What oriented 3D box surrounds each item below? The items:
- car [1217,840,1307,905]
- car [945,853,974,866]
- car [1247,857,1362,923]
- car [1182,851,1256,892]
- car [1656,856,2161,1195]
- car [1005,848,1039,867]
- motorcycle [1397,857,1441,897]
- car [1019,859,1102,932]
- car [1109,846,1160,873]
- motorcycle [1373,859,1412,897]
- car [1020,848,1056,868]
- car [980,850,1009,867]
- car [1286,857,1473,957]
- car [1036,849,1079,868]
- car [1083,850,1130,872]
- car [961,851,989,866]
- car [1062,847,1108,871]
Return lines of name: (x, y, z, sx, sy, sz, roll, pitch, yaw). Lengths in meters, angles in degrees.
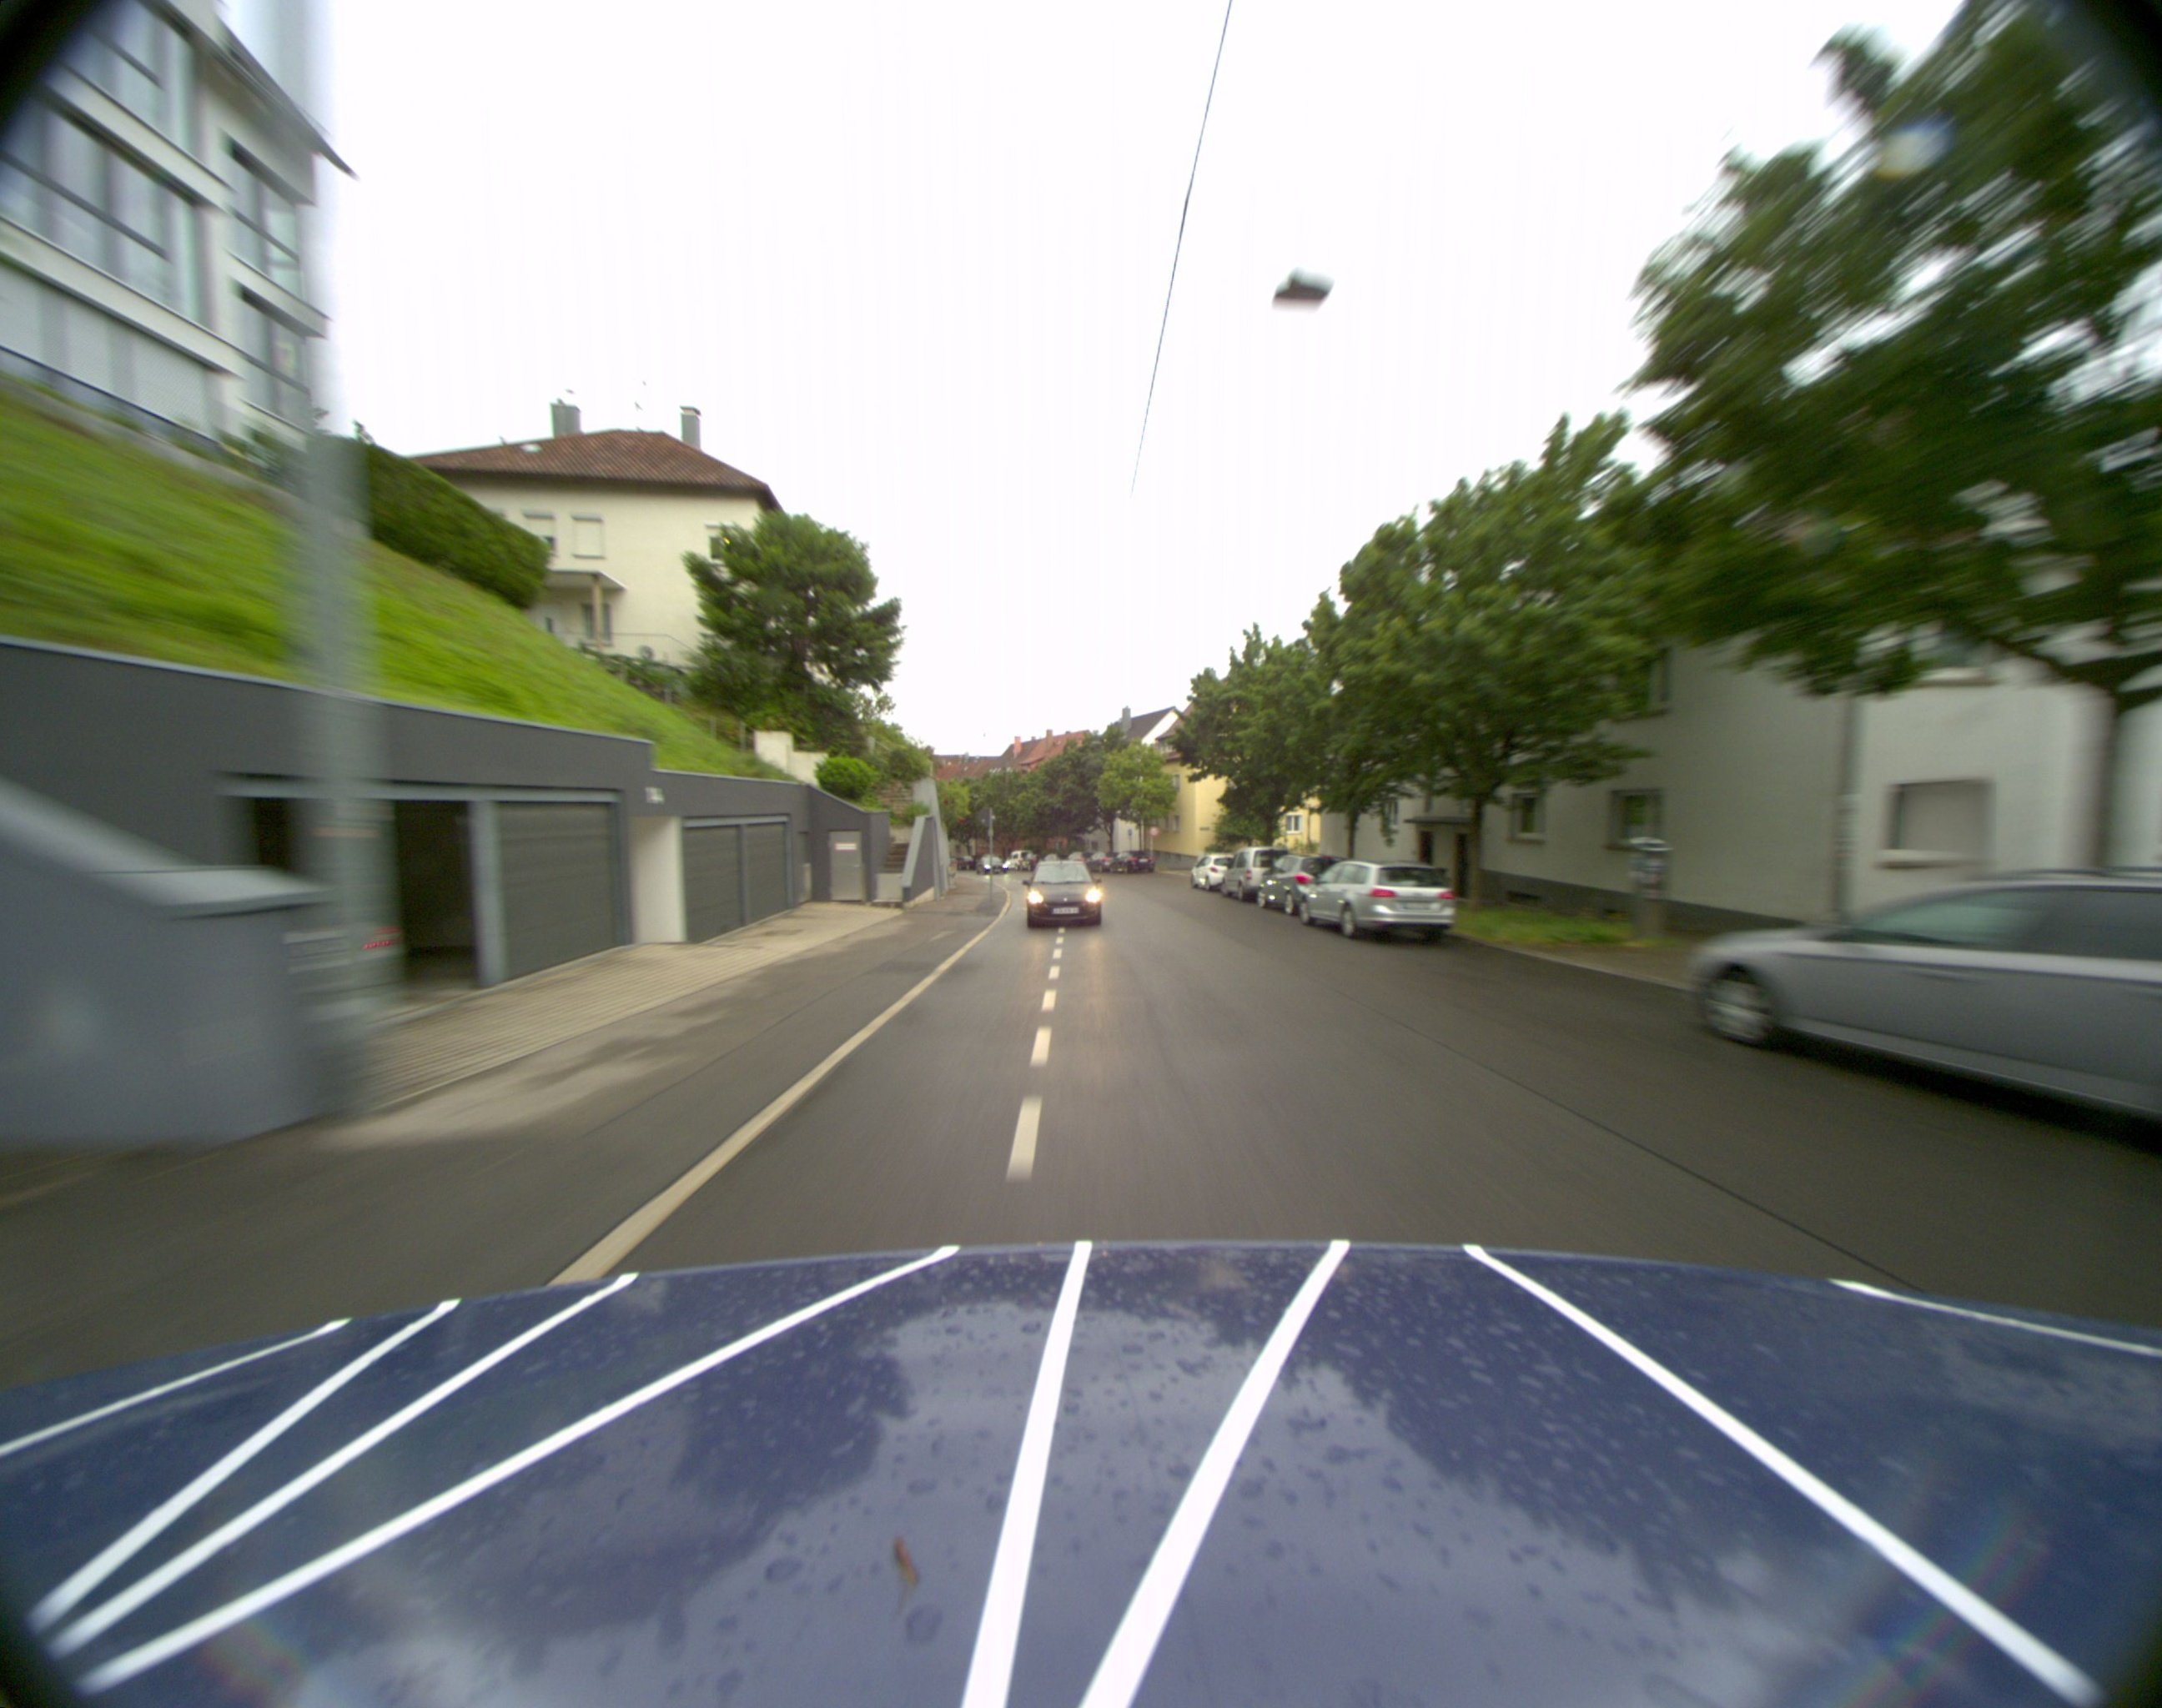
car: (6.149, 0.539, 26.337, 1.919, 1.990, 4.546, 0, 2, -1)
car: (-14.643, 0.674, 91.443, 1.796, 1.485, 4.351, -3, 1, -33)
car: (6.132, 0.921, 21.353, 1.809, 1.477, 4.233, 1, 2, -2)
car: (5.782, 0.696, 32.467, 1.790, 1.506, 4.341, 1, 2, -8)
car: (6.220, 0.897, 4.547, 1.809, 1.543, 4.797, 1, 2, -1)
car: (-5.729, 0.330, 73.498, 1.862, 1.766, 4.474, -3, 1, -23)
motorcycle: (9.762, 0.656, 21.987, 0.412, 1.092, 1.619, 0, 1, -5)
car: (-0.388, 0.910, 18.325, 1.697, 1.456, 4.000, -1, 1, 2)
car: (3.330, 0.321, 48.058, 1.782, 1.532, 4.510, -3, 1, -15)
motorcycle: (9.700, 0.738, 23.691, 0.431, 1.114, 1.619, 0, 1, -5)
car: (-3.884, 0.381, 67.819, 1.861, 1.658, 4.579, -3, 1, -21)
car: (-9.287, 0.510, 81.378, 1.754, 1.680, 4.591, -3, 1, -23)
car: (5.702, 0.911, 15.206, 1.809, 1.445, 4.594, -2, 2, -1)
car: (-1.995, 0.384, 63.461, 1.862, 1.490, 4.731, -4, 1, -24)
car: (1.681, 0.467, 52.155, 1.620, 1.388, 4.315, -3, 1, -21)
car: (-12.095, 0.526, 86.594, 1.795, 1.632, 4.470, -3, 1, -27)
car: (0.228, 0.361, 56.795, 1.862, 1.680, 4.547, -1, 0, -21)
